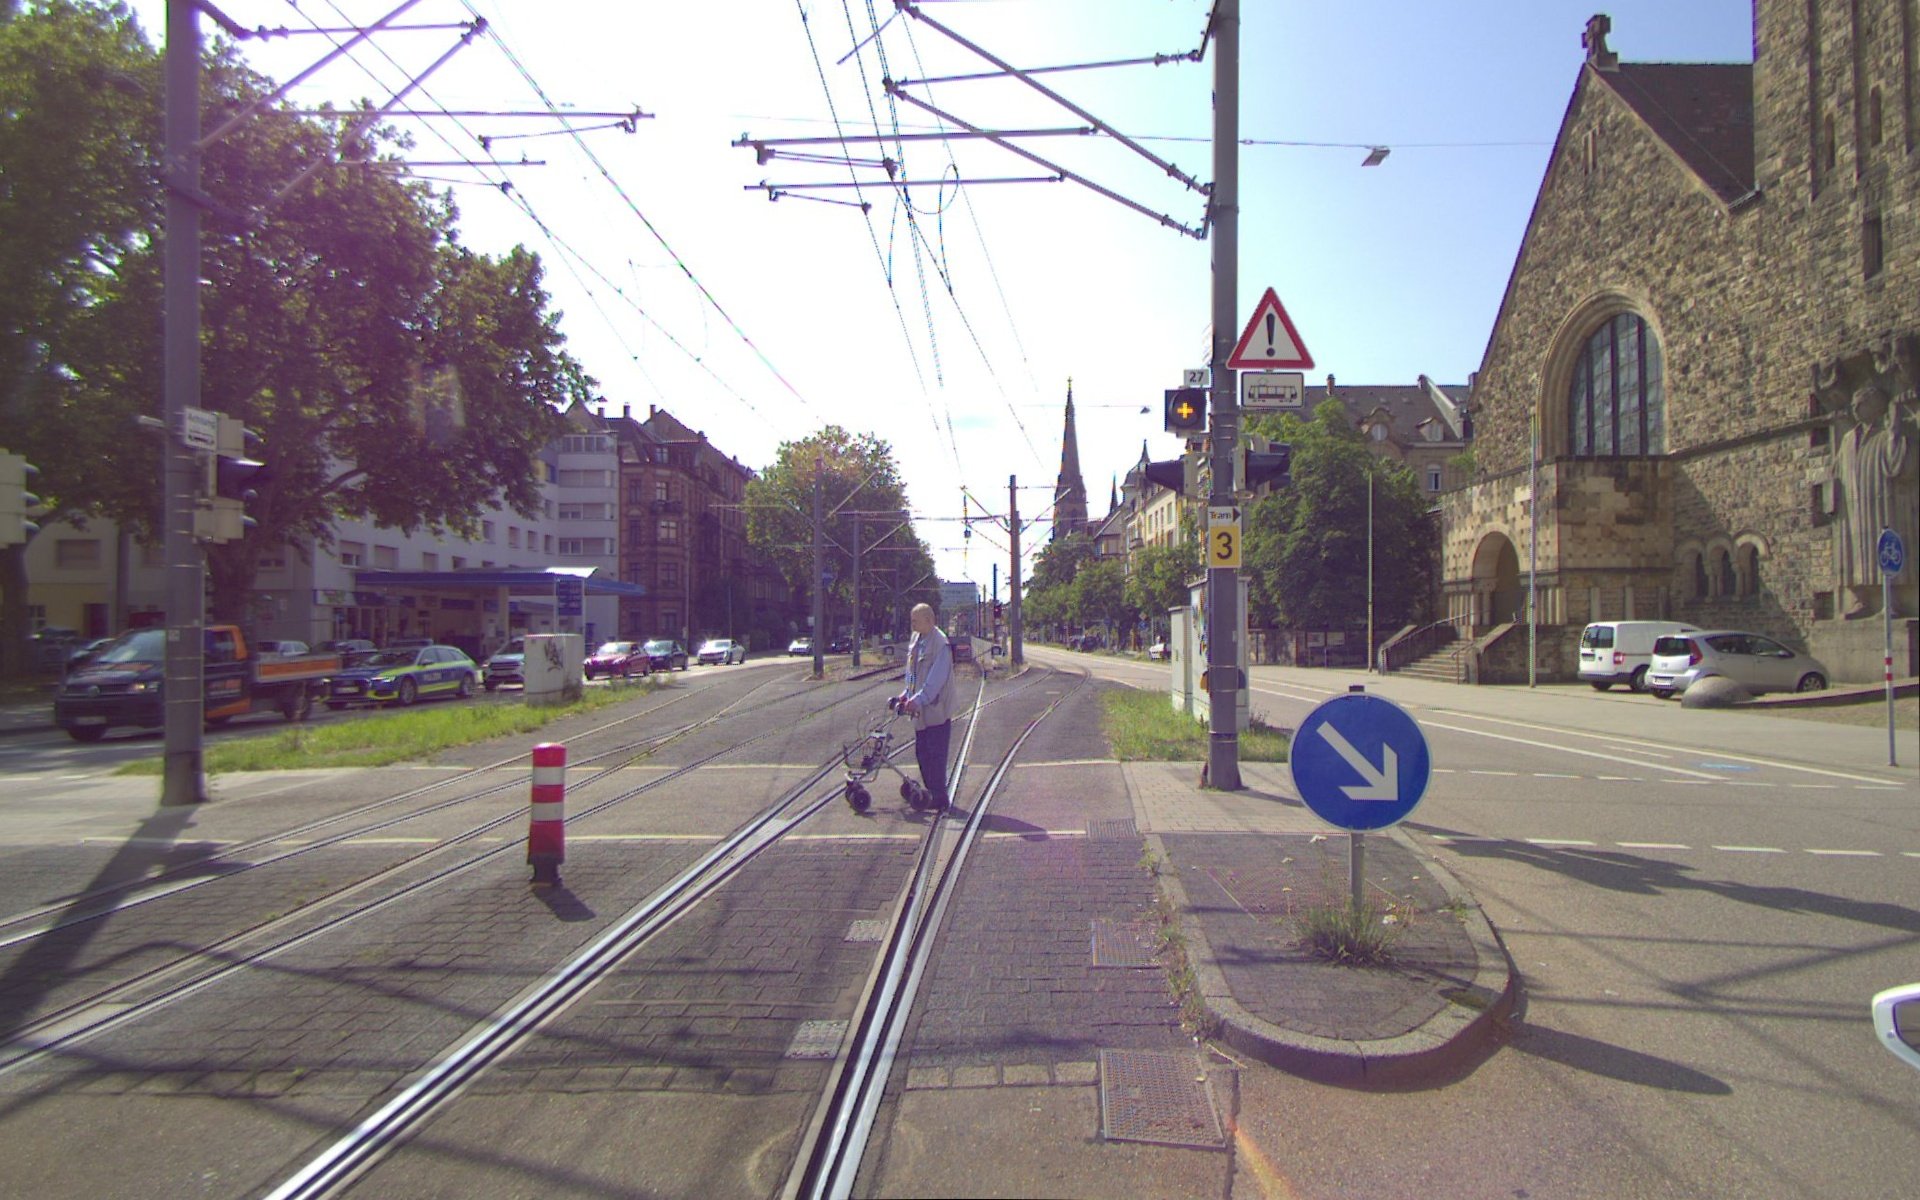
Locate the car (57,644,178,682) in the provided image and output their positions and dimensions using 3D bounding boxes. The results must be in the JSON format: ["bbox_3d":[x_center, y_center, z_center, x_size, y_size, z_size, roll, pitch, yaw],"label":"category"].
[{"bbox_3d":[-33.196,2.438,39.733,1.449,1.310,4.000,-3,-2,-1],"label":"car"}]

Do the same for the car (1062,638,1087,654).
[{"bbox_3d":[11.930,4.784,104.666,1.769,1.546,4.488,-2,-2,-4],"label":"car"}]

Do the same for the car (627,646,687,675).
[{"bbox_3d":[-13.827,2.750,46.055,1.589,1.204,3.634,0,-2,1],"label":"car"}]

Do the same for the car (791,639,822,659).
[{"bbox_3d":[-12.183,3.864,80.024,1.693,1.435,4.406,-1,-2,1],"label":"car"}]

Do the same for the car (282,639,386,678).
[{"bbox_3d":[-24.939,2.306,40.191,1.723,1.429,4.000,-1,-2,-1],"label":"car"}]

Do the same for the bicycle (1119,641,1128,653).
[{"bbox_3d":[15.124,4.353,93.051,0.420,1.154,2.024,-3,-2,0],"label":"bicycle"}]

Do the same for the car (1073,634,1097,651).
[{"bbox_3d":[11.769,4.021,94.664,1.658,1.522,4.709,0,-2,1],"label":"car"}]

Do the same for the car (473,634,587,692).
[{"bbox_3d":[-14.032,1.999,33.089,1.731,1.628,4.679,-1,0,0],"label":"car"}]

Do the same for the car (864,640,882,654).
[{"bbox_3d":[-12.165,6.589,140.535,1.689,1.713,3.732,-2,-1,6],"label":"car"}]

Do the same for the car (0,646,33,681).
[{"bbox_3d":[-39.360,2.560,39.695,1.733,1.381,4.000,-3,-2,-1],"label":"car"}]

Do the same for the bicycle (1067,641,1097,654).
[{"bbox_3d":[12.327,4.799,101.144,2.905,1.262,0.791,0,-2,-13],"label":"bicycle"}]

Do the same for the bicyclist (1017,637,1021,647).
[{"bbox_3d":[10.432,7.350,177.702,0.758,1.753,1.026,0,-2,1],"label":"bicyclist"}]

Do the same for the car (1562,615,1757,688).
[{"bbox_3d":[18.634,1.353,26.882,3.937,1.848,1.863,0,-1,-3],"label":"car"}]

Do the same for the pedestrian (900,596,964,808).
[{"bbox_3d":[-0.244,0.854,8.619,0.518,1.755,0.557,0,-2,-5],"label":"pedestrian"}]

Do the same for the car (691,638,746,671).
[{"bbox_3d":[-13.665,3.035,57.181,1.915,1.628,5.076,-1,0,0],"label":"car"}]

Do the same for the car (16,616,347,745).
[{"bbox_3d":[-14.120,1.328,18.788,2.040,2.013,5.336,-1,0,0],"label":"car"}]

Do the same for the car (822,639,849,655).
[{"bbox_3d":[-11.412,4.305,92.228,1.640,1.435,3.785,-1,-2,5],"label":"car"}]

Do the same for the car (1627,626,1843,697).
[{"bbox_3d":[18.078,1.407,23.543,3.705,1.567,1.798,0,-1,-2],"label":"car"}]

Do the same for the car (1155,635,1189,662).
[{"bbox_3d":[12.310,2.789,58.428,1.640,1.435,3.847,1,-2,8],"label":"car"}]

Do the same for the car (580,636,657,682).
[{"bbox_3d":[-13.612,2.329,40.322,1.684,1.628,4.143,-1,0,0],"label":"car"}]

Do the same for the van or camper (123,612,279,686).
[{"bbox_3d":[-30.418,1.937,40.534,2.067,2.676,5.351,-3,-2,1],"label":"van or camper"}]

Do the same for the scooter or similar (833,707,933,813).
[{"bbox_3d":[-0.655,1.346,8.569,0.825,0.815,0.553,0,-2,-5],"label":"scooter or similar"}]

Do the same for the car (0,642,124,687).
[{"bbox_3d":[-35.823,2.525,40.152,1.501,1.625,4.000,-2,-2,-1],"label":"car"}]

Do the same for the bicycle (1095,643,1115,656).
[{"bbox_3d":[12.358,4.226,85.565,1.679,1.083,0.471,0,-2,-6],"label":"bicycle"}]

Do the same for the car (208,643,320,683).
[{"bbox_3d":[-27.614,2.476,40.029,1.723,1.429,4.000,-1,-2,-1],"label":"car"}]

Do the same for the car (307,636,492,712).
[{"bbox_3d":[-14.203,1.815,25.869,1.836,1.674,5.154,-2,-2,0],"label":"car"}]

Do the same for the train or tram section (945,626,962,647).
[{"bbox_3d":[-1.217,6.494,177.924,2.806,3.627,12.837,0,-2,-1],"label":"train or tram section"}]

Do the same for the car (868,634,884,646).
[{"bbox_3d":[-12.899,6.123,155.023,1.960,1.658,4.002,-3,-2,2],"label":"car"}]

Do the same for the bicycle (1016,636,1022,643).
[{"bbox_3d":[10.430,6.990,177.704,0.786,1.253,2.778,0,-2,1],"label":"bicycle"}]
